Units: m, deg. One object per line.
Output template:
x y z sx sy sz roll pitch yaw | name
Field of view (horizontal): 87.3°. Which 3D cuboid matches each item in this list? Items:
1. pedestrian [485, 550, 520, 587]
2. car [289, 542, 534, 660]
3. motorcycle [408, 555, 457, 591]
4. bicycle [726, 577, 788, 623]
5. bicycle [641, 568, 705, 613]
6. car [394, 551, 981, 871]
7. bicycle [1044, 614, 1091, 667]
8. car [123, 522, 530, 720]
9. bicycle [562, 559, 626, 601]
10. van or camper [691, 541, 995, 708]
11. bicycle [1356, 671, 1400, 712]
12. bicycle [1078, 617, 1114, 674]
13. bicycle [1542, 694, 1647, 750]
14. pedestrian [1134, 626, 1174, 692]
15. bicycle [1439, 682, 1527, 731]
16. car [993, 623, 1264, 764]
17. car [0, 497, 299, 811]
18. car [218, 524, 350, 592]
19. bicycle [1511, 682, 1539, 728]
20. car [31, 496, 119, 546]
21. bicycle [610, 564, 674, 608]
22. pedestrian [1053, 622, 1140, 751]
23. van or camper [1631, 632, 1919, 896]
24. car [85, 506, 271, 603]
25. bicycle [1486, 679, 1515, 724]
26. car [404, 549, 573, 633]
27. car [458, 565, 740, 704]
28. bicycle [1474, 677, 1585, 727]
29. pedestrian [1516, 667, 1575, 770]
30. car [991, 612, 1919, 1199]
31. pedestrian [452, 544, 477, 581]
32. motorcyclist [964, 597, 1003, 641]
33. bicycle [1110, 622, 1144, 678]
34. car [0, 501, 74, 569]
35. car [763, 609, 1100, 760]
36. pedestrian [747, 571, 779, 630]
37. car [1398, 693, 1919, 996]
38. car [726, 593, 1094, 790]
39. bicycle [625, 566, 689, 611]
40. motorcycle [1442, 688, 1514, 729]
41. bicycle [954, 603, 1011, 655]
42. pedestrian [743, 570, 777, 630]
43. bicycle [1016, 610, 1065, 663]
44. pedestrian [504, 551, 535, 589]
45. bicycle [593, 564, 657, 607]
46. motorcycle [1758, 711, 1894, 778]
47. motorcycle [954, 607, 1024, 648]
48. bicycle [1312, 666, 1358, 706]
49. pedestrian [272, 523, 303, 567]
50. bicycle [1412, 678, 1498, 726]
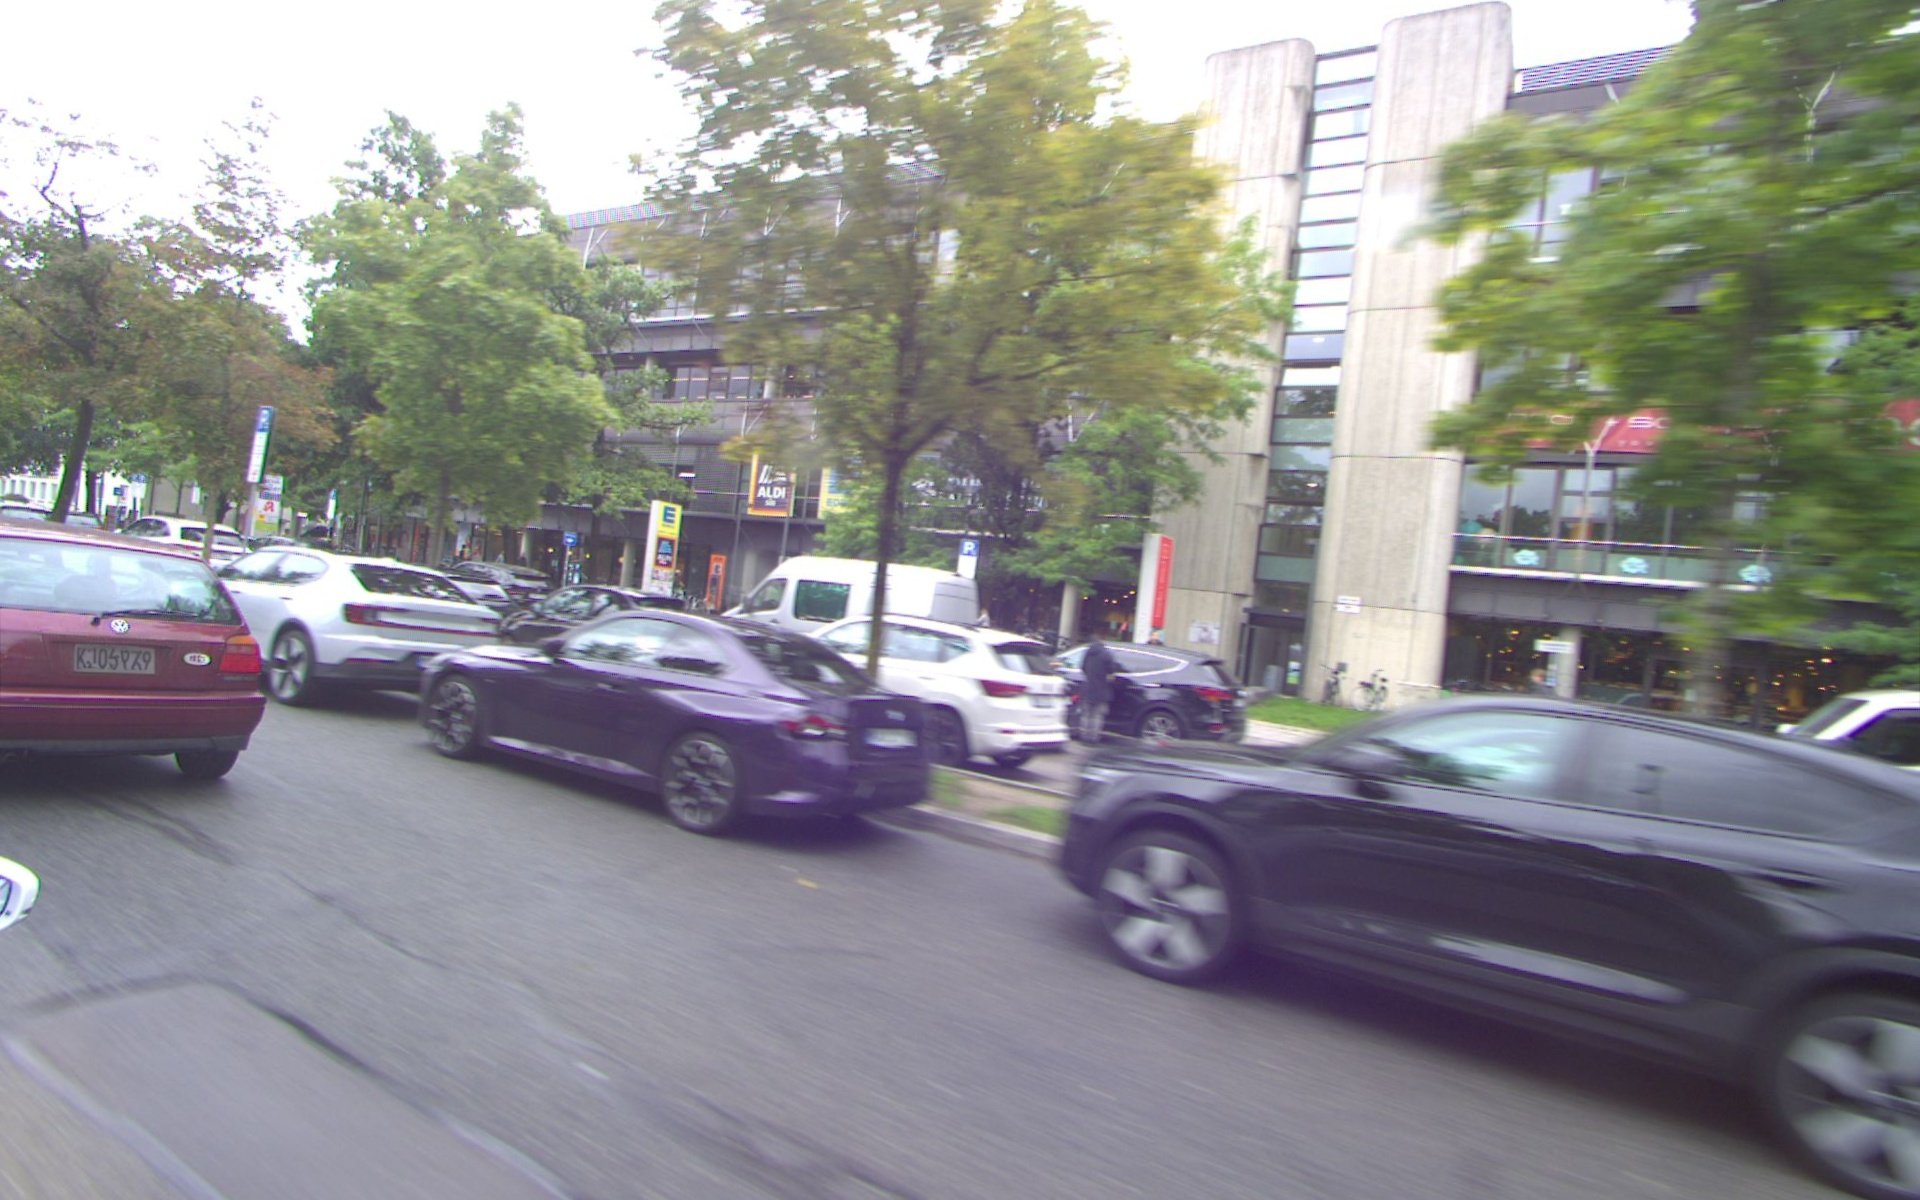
-23.485 -1.620 51.628 1.029 1.724 1.018 7 -1 32 | pedestrian
-9.626 -0.018 17.518 4.658 1.471 1.686 7 -1 34 | car
-19.452 -0.993 37.085 2.017 1.156 0.605 7 3 32 | motorcycle
-7.821 0.018 38.944 0.784 1.526 2.616 7 -1 26 | bicycle
-11.466 -0.370 40.295 0.784 1.526 2.616 7 -1 26 | bicycle
-2.226 0.673 7.791 4.351 1.564 1.767 7 -1 32 | car
3.393 1.290 31.555 0.783 1.526 2.619 7 -1 18 | bicycle
-6.847 0.187 10.746 4.436 1.470 1.711 7 -3 31 | car
-15.574 -0.837 42.901 0.784 1.526 2.616 7 -1 26 | bicycle
-2.463 0.423 20.184 5.859 2.589 2.026 7 0 32 | van or camper
11.204 2.454 26.922 0.734 0.969 2.044 7 -1 31 | bicycle
4.111 1.360 30.280 0.783 1.526 2.620 7 -1 11 | bicycle
14.391 2.764 22.819 2.015 0.969 0.744 7 0 -14 | bicycle
4.668 1.426 24.228 0.668 1.495 0.396 7 0 39 | pedestrian
13.111 2.661 25.221 2.020 0.969 0.743 8 0 -21 | bicycle
2.771 1.490 16.752 3.942 1.684 1.750 7 -1 32 | car
-5.913 0.105 6.062 3.884 1.471 1.624 7 -1 32 | car
-21.732 -1.353 32.311 4.309 1.652 1.687 7 -1 30 | car
16.461 3.045 29.310 0.577 1.219 2.141 7 -1 30 | bicycle
-36.348 -3.237 41.291 3.963 1.604 1.685 7 -1 34 | car
-12.989 -0.544 41.209 0.784 1.526 2.616 7 -1 26 | bicycle
2.169 1.348 15.903 0.888 1.874 0.876 7 1 31 | pedestrian
11.403 2.044 11.539 5.859 2.589 1.996 7 0 32 | van or camper
-17.656 -1.049 22.661 4.701 1.652 1.686 7 -1 32 | car
15.929 2.981 29.625 0.577 1.219 2.141 7 -1 30 | bicycle
-12.380 -0.248 26.356 4.422 1.652 1.687 7 -1 30 | car
-5.292 0.480 14.621 3.943 1.471 1.686 7 -1 33 | car
13.623 2.447 24.076 2.366 0.880 0.769 7 0 -14 | bicycle
10.863 2.187 18.661 0.720 1.772 0.575 7 0 37 | pedestrian
2.548 1.185 4.816 4.351 1.671 1.767 7 -1 32 | car
-25.150 -1.910 51.026 0.686 1.724 0.682 7 -1 32 | pedestrian
0.874 0.715 37.292 0.968 1.495 0.943 7 0 32 | motorcyclist
5.019 1.489 30.117 0.783 1.526 2.620 7 -1 11 | bicycle
-26.784 -1.934 28.263 3.961 1.604 1.686 7 -1 32 | car
-0.516 1.172 14.951 4.759 1.471 1.686 7 -1 32 | car
-6.399 0.022 32.727 0.533 1.852 0.678 7 0 20 | pedestrian
5.700 1.751 7.777 3.942 1.496 1.751 7 -1 31 | car
-0.651 0.979 11.830 3.943 1.604 1.686 7 -1 33 | car
-12.242 -0.453 40.790 0.784 1.526 2.616 7 -1 26 | bicycle
14.208 2.965 27.616 1.545 0.876 0.851 7 -1 40 | motorcycle
0.753 0.963 32.611 0.784 1.526 2.618 7 -1 23 | bicycle
-6.418 0.001 32.336 0.668 1.852 0.559 7 0 21 | pedestrian
2.588 1.195 31.905 0.783 1.526 2.619 7 -1 18 | bicycle
-22.300 -1.508 50.930 0.785 1.724 0.964 7 -1 32 | pedestrian
-13.887 -0.579 41.777 0.784 1.526 2.616 7 -1 26 | bicycle
21.887 3.623 25.494 2.335 1.245 0.870 7 1 25 | motorcycle
1.056 1.012 37.155 2.329 1.211 0.947 7 0 32 | motorcycle
10.253 2.356 27.440 0.734 0.969 2.044 7 -1 31 | bicycle
-28.249 -2.294 42.258 0.690 1.727 0.748 7 0 32 | pedestrian
12.775 2.642 25.972 2.020 0.969 0.743 8 0 -21 | bicycle
